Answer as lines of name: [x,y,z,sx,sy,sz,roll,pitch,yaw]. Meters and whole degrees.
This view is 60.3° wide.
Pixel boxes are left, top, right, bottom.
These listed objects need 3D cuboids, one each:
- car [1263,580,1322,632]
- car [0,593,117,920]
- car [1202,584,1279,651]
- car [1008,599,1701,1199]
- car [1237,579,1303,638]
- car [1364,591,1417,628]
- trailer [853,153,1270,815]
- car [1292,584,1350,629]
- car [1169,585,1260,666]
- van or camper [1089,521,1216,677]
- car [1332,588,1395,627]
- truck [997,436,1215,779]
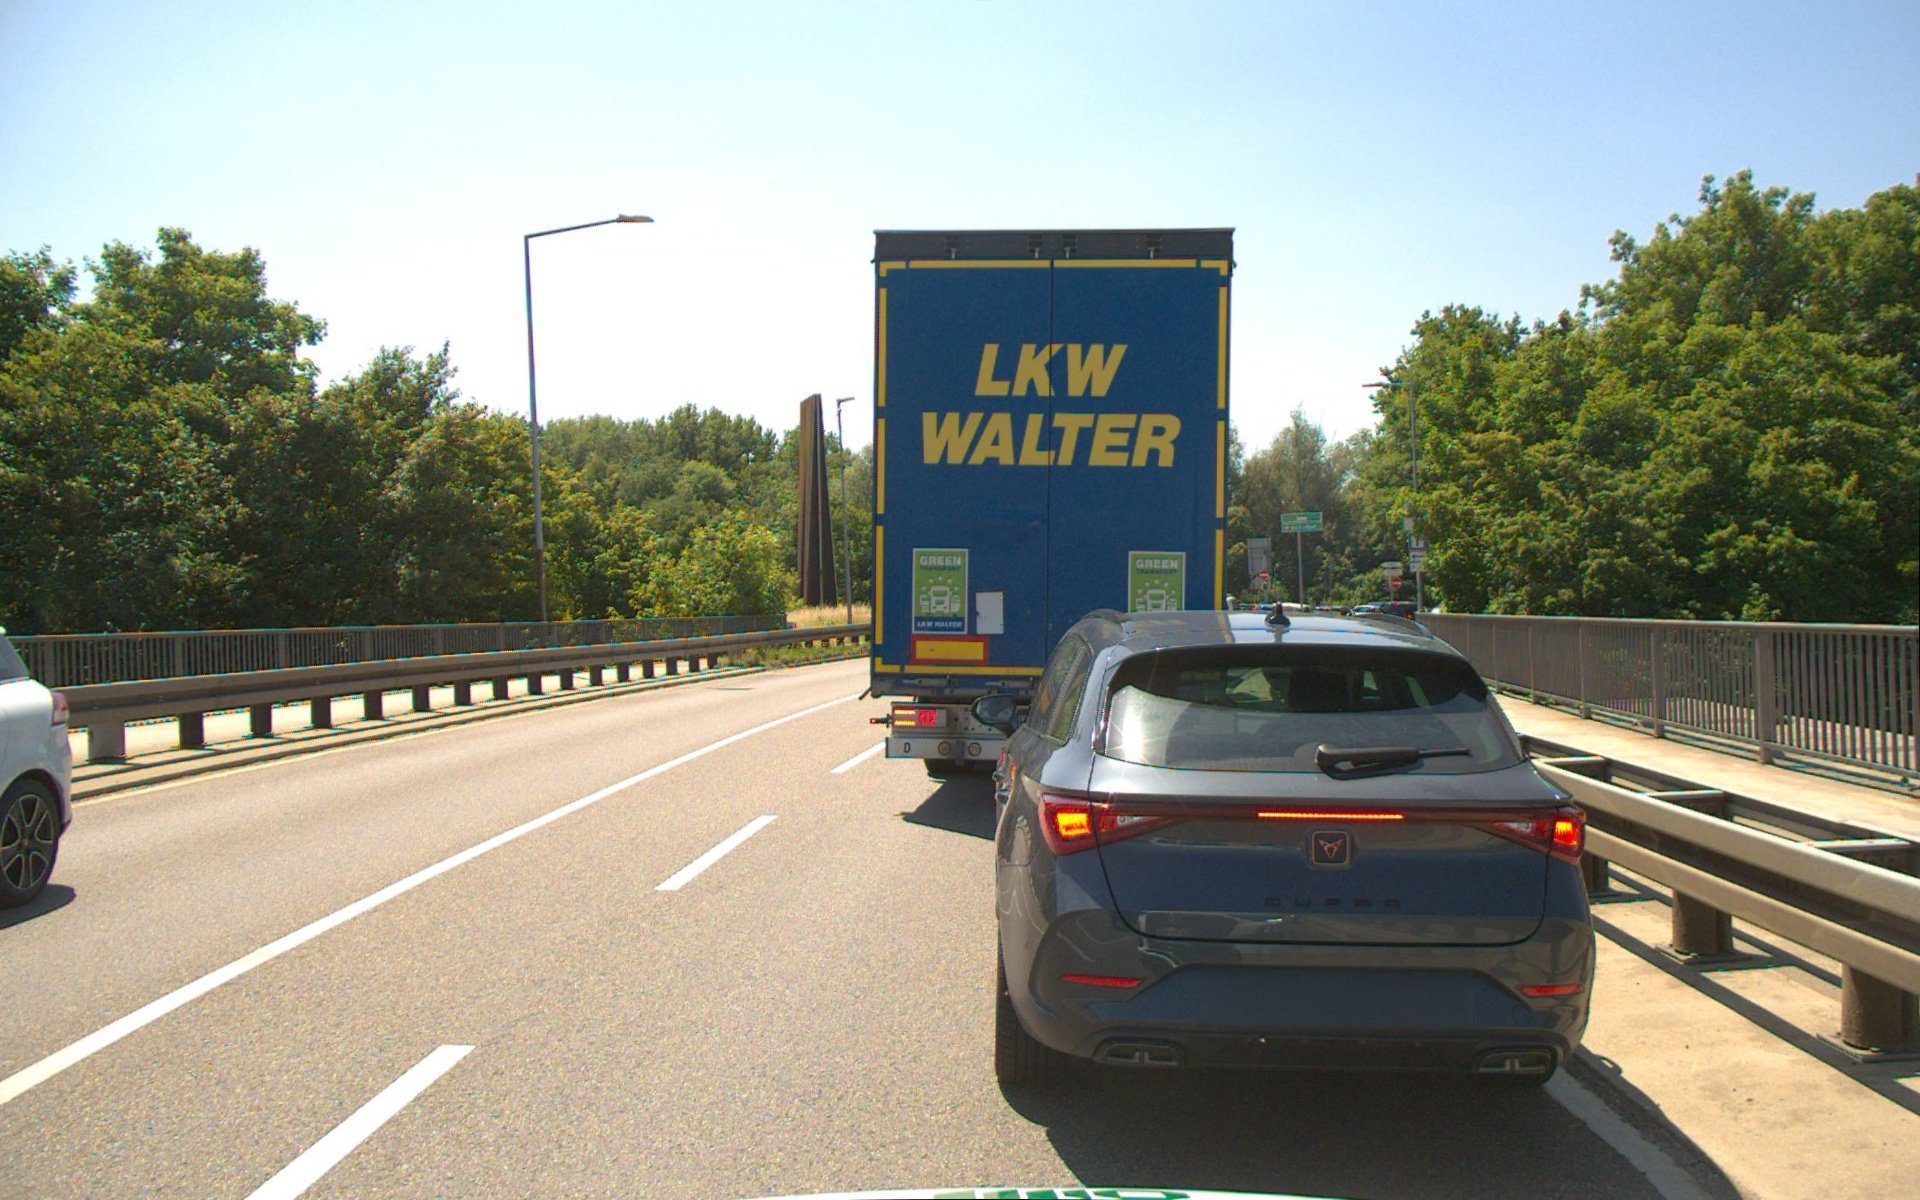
car: [12.431,0.217,61.673,1.685,1.876,4.002,0,0,18]
car: [-5.143,0.706,6.448,1.566,1.474,4.056,0,0,1]
car: [8.076,0.477,47.414,1.684,1.834,4.002,0,0,17]
car: [1.001,0.737,5.941,1.642,1.481,3.959,0,0,1]
car: [10.403,0.261,55.327,1.685,1.876,4.002,0,0,18]
car: [21.010,0.474,80.661,1.653,1.791,3.995,0,-1,28]
trailer: [1.418,-0.825,17.578,2.843,4.496,12.442,0,0,7]
car: [14.937,0.288,68.363,1.651,1.791,3.999,0,-1,22]
car: [6.371,0.578,41.070,1.684,1.876,4.002,0,1,17]
van or camper: [4.035,-0.041,33.661,2.108,2.865,6.393,0,0,11]
car: [18.227,0.350,74.644,1.954,1.603,3.996,2,-1,26]
truck: [2.314,0.072,25.068,2.843,4.496,6.560,0,0,7]
